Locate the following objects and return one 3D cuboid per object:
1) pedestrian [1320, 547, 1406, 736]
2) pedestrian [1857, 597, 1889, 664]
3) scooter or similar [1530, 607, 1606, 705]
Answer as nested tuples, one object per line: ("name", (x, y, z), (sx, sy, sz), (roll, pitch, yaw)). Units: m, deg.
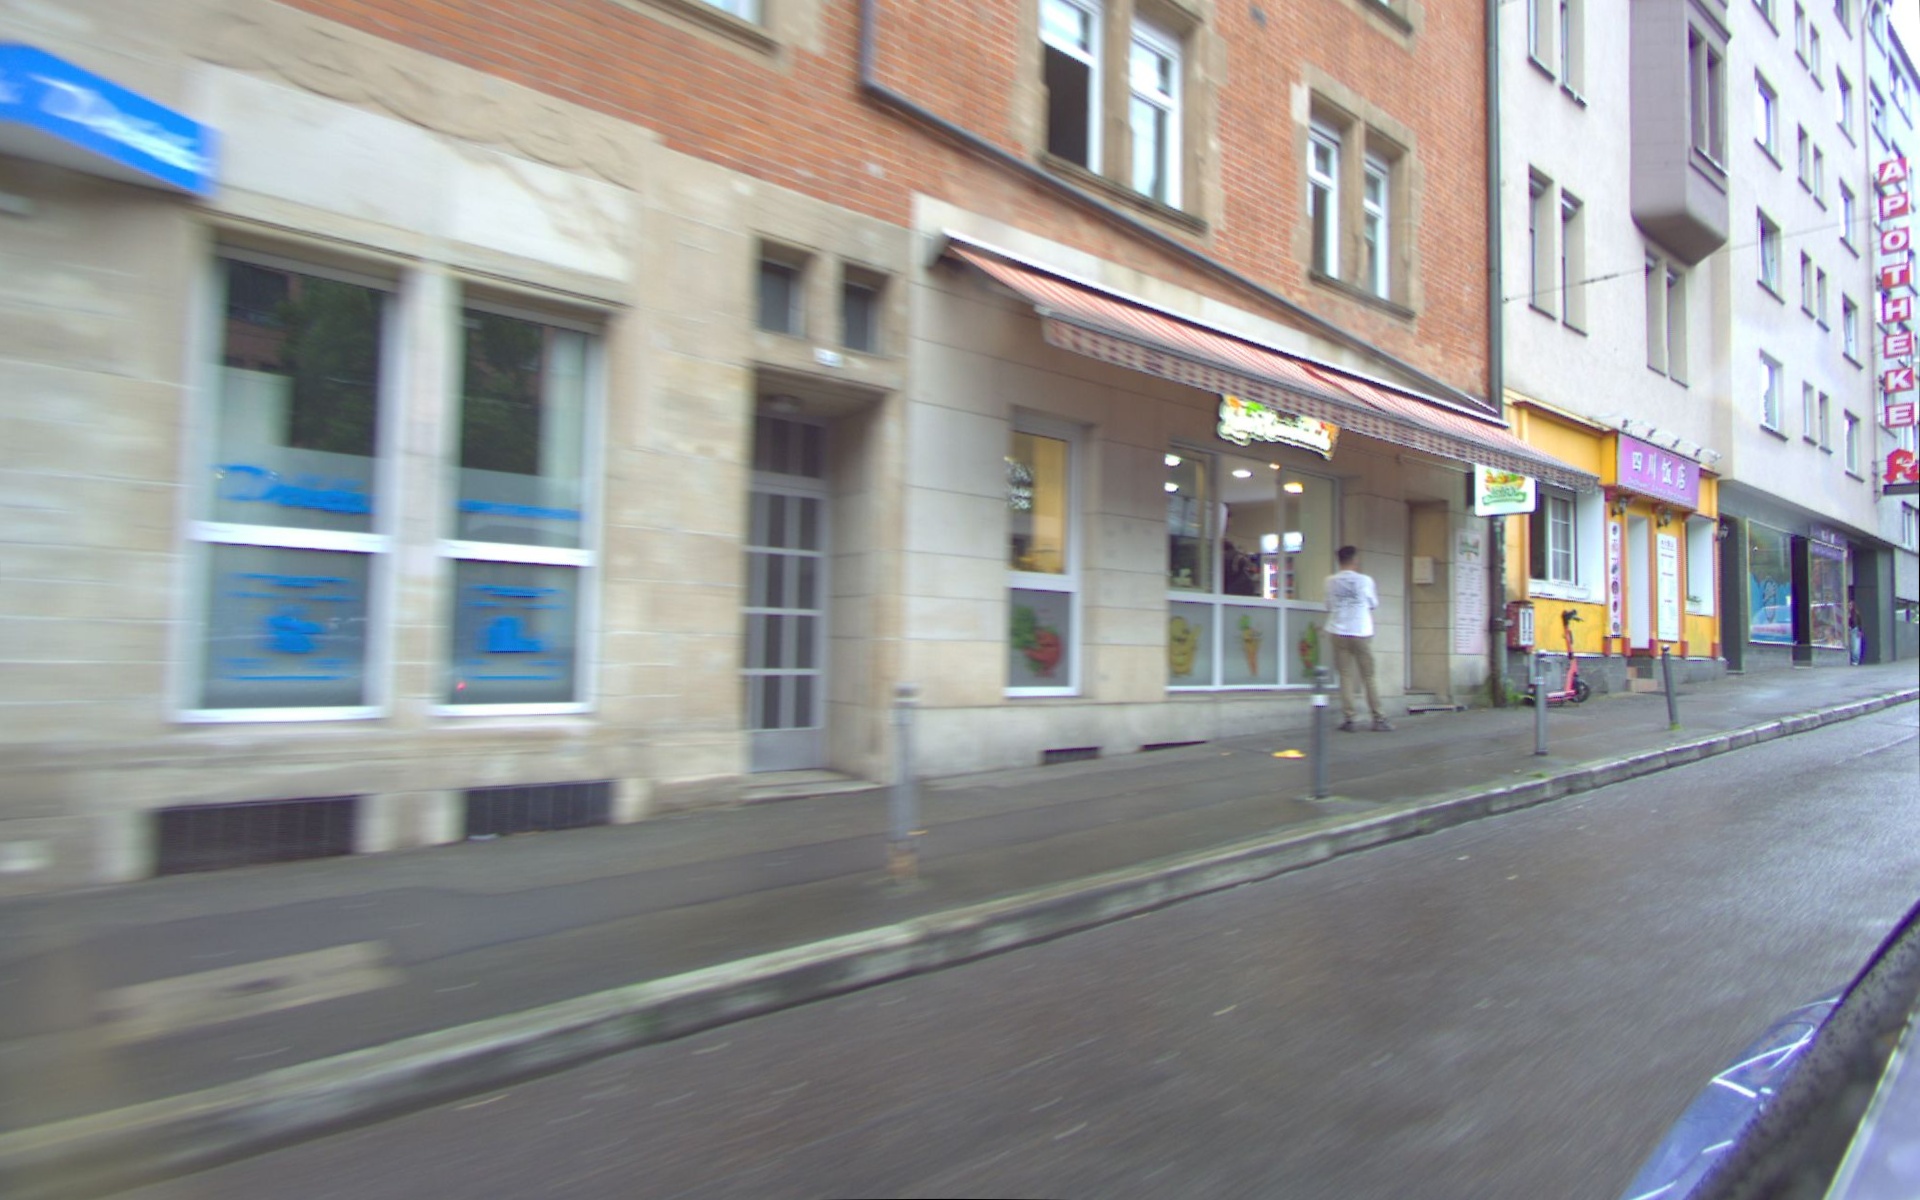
("pedestrian", (4.065, 0.401, 10.232), (0.568, 1.853, 0.564), (1, 2, -6))
("pedestrian", (22.736, 0.759, 25.211), (0.478, 1.666, 0.327), (-3, -3, 33))
("scooter or similar", (7.999, 0.720, 13.300), (1.170, 1.238, 0.258), (0, -2, -28))
